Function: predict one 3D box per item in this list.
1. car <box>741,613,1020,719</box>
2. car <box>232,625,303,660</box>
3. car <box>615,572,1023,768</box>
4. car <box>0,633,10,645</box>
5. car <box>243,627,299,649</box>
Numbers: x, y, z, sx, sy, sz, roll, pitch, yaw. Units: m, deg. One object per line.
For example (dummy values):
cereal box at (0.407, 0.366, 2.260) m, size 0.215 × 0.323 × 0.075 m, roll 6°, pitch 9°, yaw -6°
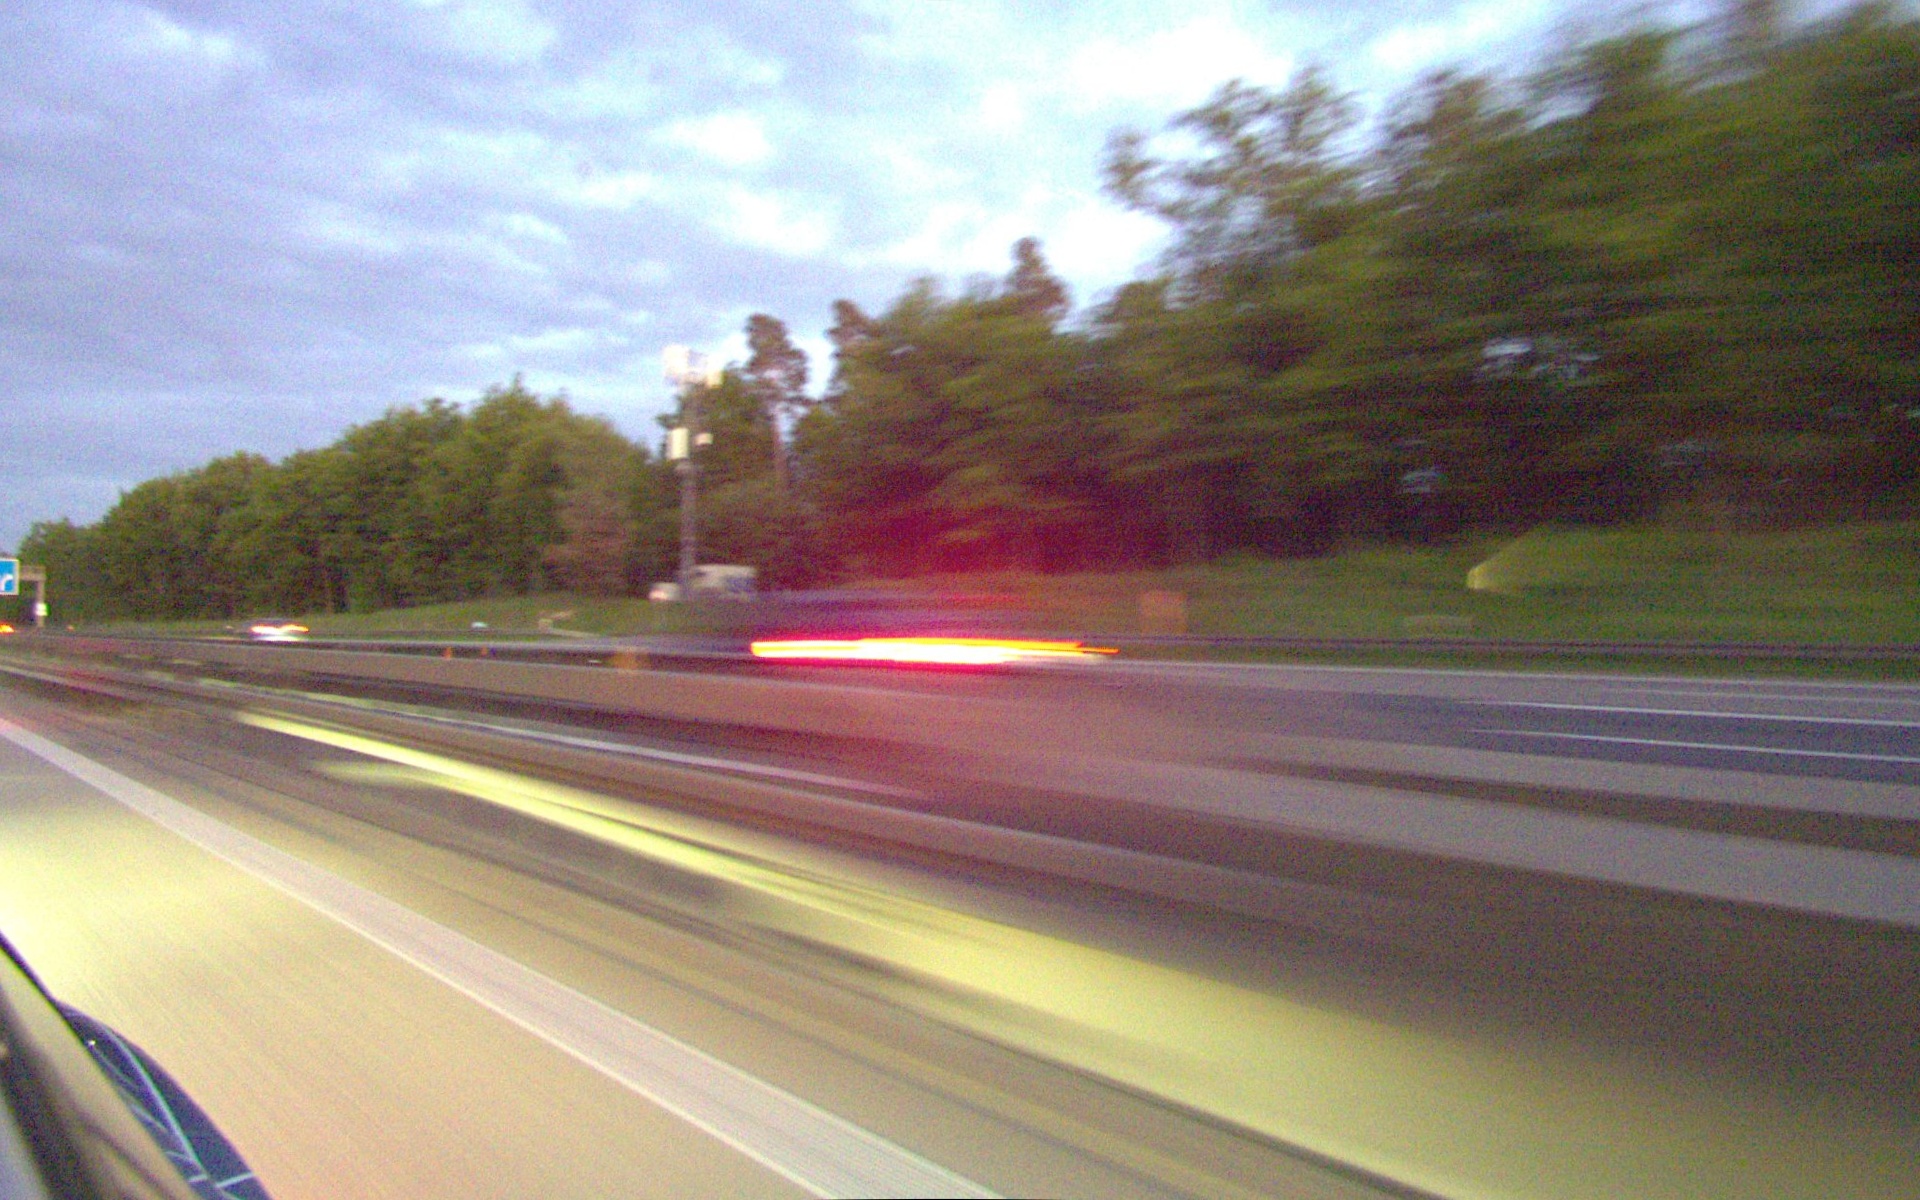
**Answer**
car at (-1.378, 0.988, 16.152) m, size 4.448 × 1.454 × 1.855 m, roll -2°, pitch -2°, yaw 41°
car at (-31.625, 1.913, 46.188) m, size 3.600 × 1.466 × 1.823 m, roll -1°, pitch -1°, yaw 41°
car at (-1.802, 0.727, 11.709) m, size 4.827 × 1.811 × 1.973 m, roll -2°, pitch -2°, yaw 41°
car at (-118.940, 4.816, 124.874) m, size 4.588 × 1.508 × 1.833 m, roll -2°, pitch -2°, yaw 38°
car at (-46.439, 2.558, 68.146) m, size 4.902 × 1.391 × 1.797 m, roll -2°, pitch -1°, yaw 39°
